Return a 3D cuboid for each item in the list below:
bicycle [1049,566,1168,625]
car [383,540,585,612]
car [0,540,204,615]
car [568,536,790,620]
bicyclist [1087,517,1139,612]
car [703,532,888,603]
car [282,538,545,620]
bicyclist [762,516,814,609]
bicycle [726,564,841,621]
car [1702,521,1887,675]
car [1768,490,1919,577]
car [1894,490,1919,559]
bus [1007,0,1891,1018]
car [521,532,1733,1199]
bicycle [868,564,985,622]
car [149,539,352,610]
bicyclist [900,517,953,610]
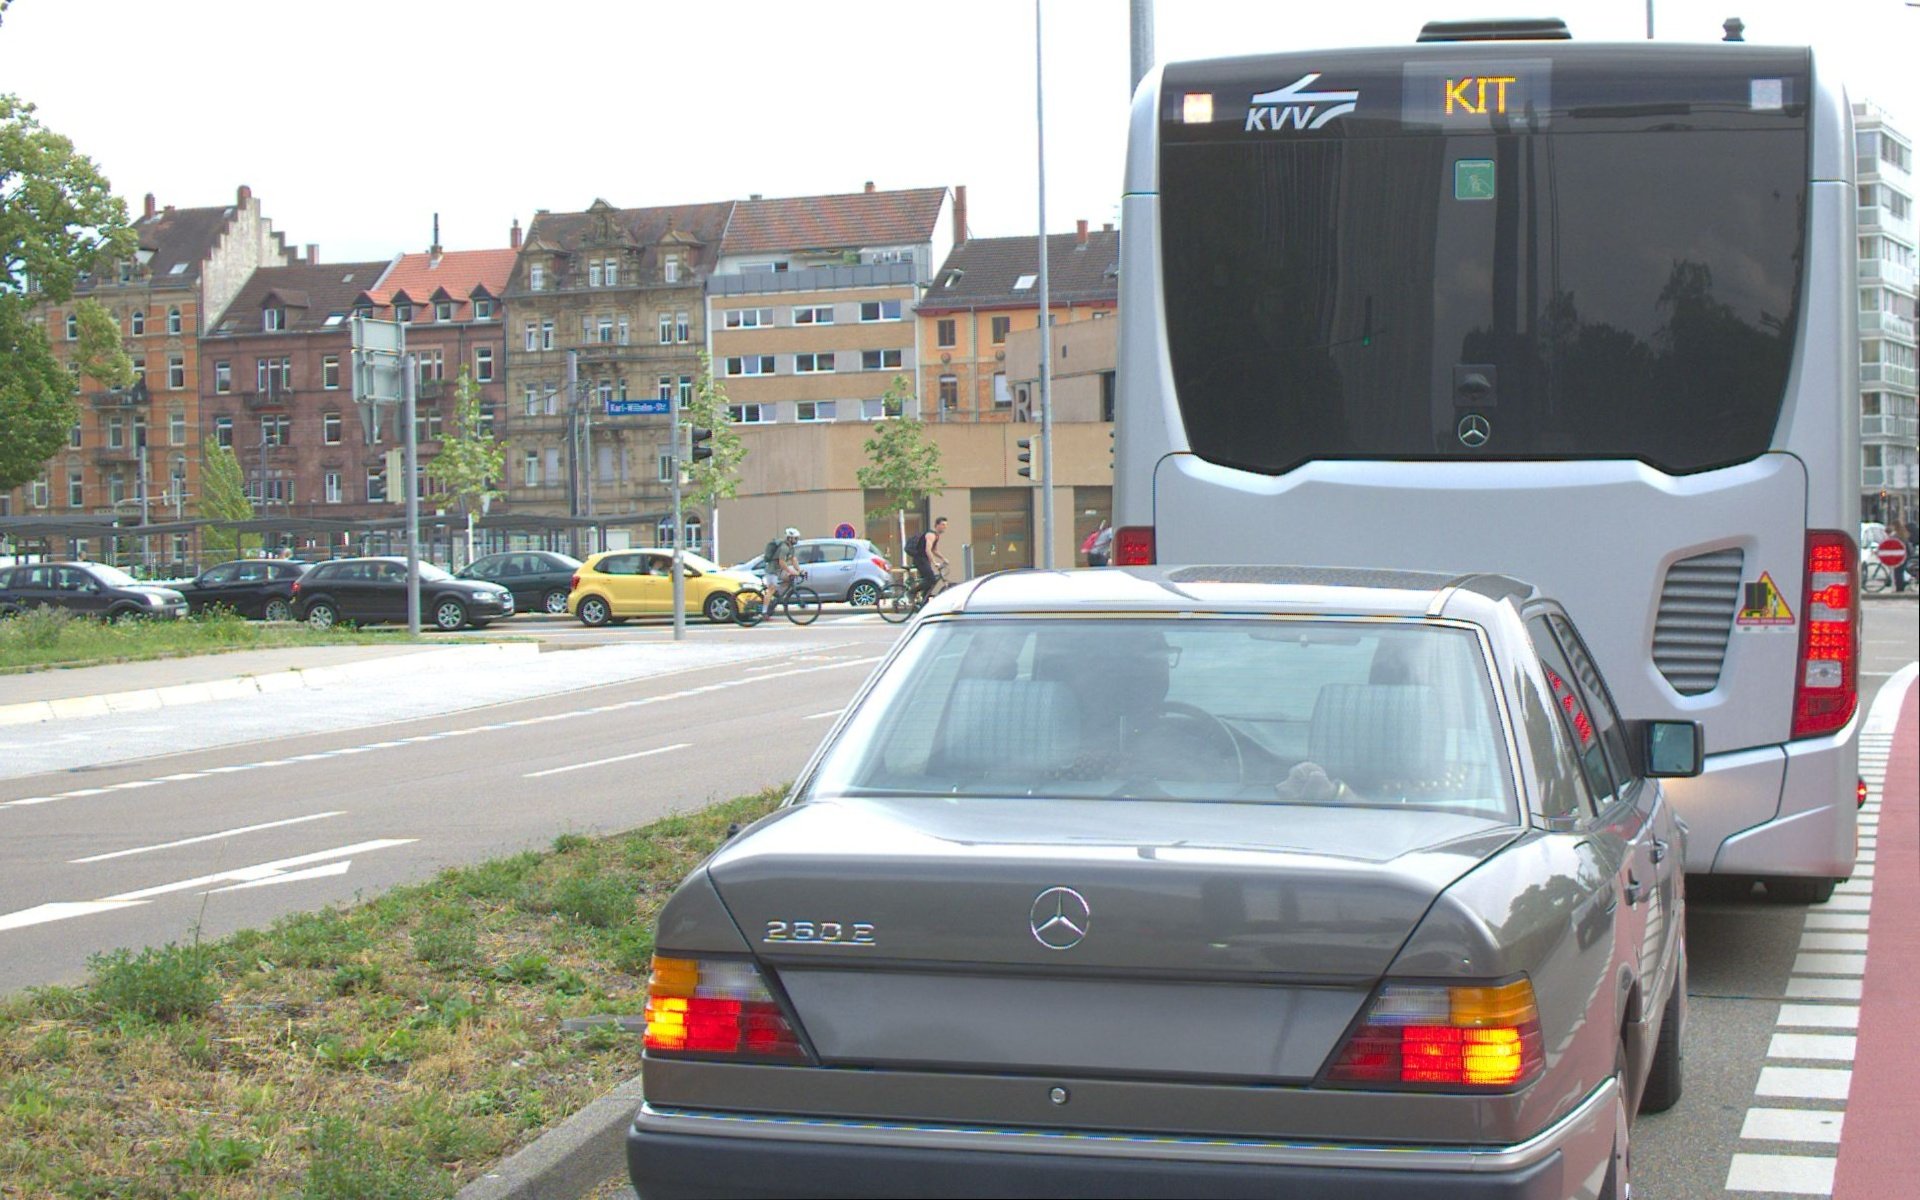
[{"bbox_3d":[2.593,-0.082,60.043,1.965,0.978,0.630,-1,1,13],"label":"bicycle"},{"bbox_3d":[-9.677,-0.498,69.979,3.765,1.389,1.584,1,2,11],"label":"car"},{"bbox_3d":[-16.800,-0.458,66.918,3.765,1.389,1.584,1,2,11],"label":"car"},{"bbox_3d":[-5.281,-0.429,64.695,3.858,1.512,1.660,1,2,11],"label":"car"},{"bbox_3d":[2.675,-0.618,60.017,0.787,1.637,0.613,-1,1,13],"label":"bicyclist"},{"bbox_3d":[-3.303,-0.662,69.184,3.672,1.389,1.585,0,1,-2],"label":"car"},{"bbox_3d":[-10.432,-0.415,65.721,4.671,1.470,1.660,1,2,11],"label":"car"},{"bbox_3d":[-3.092,-0.679,61.858,0.787,1.637,0.572,-1,1,10],"label":"bicyclist"},{"bbox_3d":[-3.178,-0.142,61.893,1.965,0.978,0.631,-1,1,11],"label":"bicycle"},{"bbox_3d":[8.174,-0.055,33.861,1.656,1.391,3.858,-1,1,13],"label":"car"},{"bbox_3d":[22.735,-1.713,87.667,2.587,2.102,5.592,-1,1,30],"label":"car"},{"bbox_3d":[26.984,-2.114,94.707,1.809,1.844,3.995,-1,1,24],"label":"car"},{"bbox_3d":[2.533,-0.462,15.206,2.833,3.378,8.178,-1,1,14],"label":"bus"},{"bbox_3d":[0.676,0.627,7.359,1.762,1.484,4.168,-1,1,14],"label":"car"},{"bbox_3d":[-0.599,-0.119,61.262,1.965,0.978,0.630,-1,1,14],"label":"bicycle"},{"bbox_3d":[-14.596,-0.533,70.779,3.765,1.389,1.584,1,2,11],"label":"car"},{"bbox_3d":[-0.603,-0.657,61.260,0.787,1.637,0.572,-1,1,15],"label":"bicyclist"}]
